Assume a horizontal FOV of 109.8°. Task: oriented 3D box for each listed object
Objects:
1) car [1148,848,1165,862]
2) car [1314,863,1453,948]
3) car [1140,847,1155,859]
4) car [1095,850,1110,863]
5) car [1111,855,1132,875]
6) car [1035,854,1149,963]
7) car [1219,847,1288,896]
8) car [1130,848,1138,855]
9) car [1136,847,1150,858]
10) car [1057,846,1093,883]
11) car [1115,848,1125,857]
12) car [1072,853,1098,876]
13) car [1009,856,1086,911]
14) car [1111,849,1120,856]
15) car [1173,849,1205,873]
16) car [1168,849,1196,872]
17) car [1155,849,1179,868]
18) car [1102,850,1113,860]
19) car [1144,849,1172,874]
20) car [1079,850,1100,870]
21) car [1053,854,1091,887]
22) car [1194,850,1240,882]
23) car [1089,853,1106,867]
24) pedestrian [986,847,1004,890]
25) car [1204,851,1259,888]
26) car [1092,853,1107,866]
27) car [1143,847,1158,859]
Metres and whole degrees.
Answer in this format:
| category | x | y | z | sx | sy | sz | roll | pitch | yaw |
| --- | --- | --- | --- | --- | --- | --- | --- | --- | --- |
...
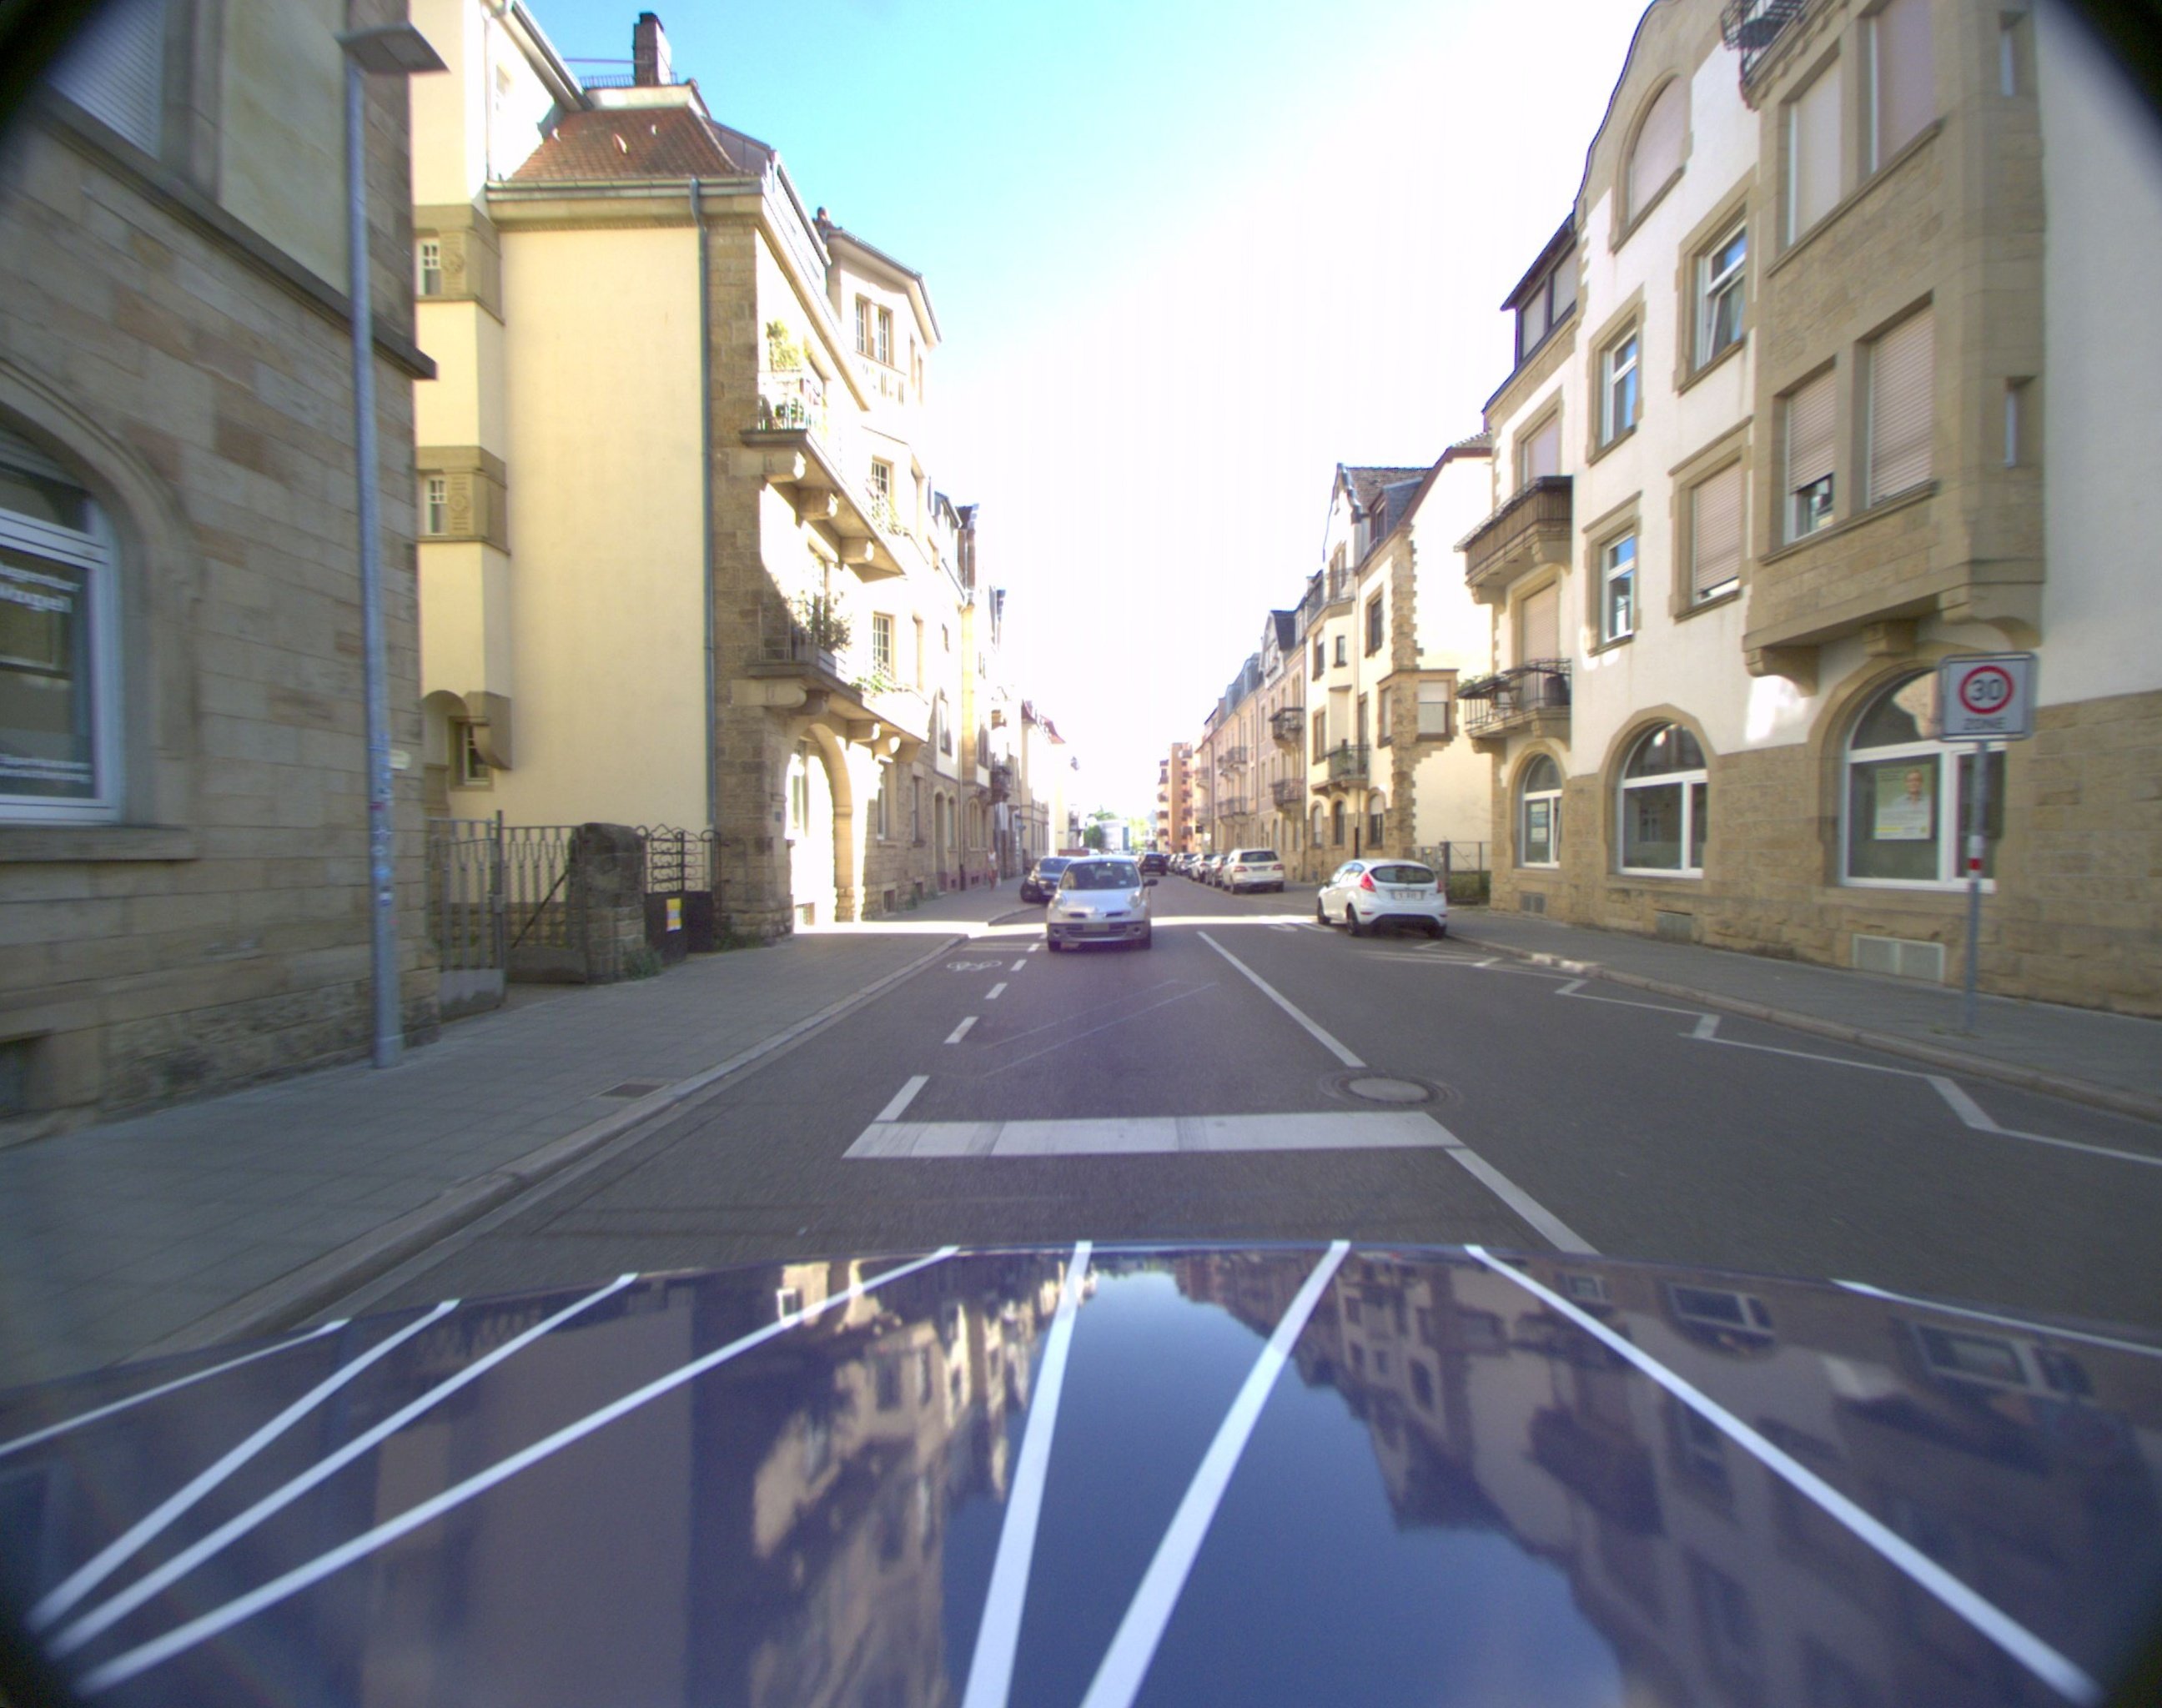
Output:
| category | x | y | z | sx | sy | sz | roll | pitch | yaw |
| --- | --- | --- | --- | --- | --- | --- | --- | --- | --- |
| car | 10.016 | 0.149 | 100.806 | 1.917 | 1.614 | 4.346 | -4 | 1 | 2 |
| car | 5.842 | 0.922 | 15.084 | 1.556 | 1.403 | 3.572 | 1 | 0 | 5 |
| car | 10.210 | -0.215 | 117.128 | 1.917 | 1.614 | 4.346 | -4 | 1 | 2 |
| car | 3.138 | 0.312 | 109.493 | 1.877 | 1.657 | 4.000 | -2 | 1 | 4 |
| car | 3.838 | 1.005 | 72.187 | 1.877 | 1.657 | 4.000 | -2 | 1 | 4 |
| car | 0.324 | 0.820 | 13.074 | 1.651 | 1.559 | 3.617 | -1 | 1 | 5 |
| car | 6.712 | 0.623 | 30.077 | 1.917 | 1.649 | 4.347 | -4 | 1 | 4 |
| car | 14.617 | -0.707 | 210.043 | 1.917 | 1.614 | 4.346 | -4 | 1 | 2 |
| car | 10.385 | -0.311 | 127.145 | 1.917 | 1.614 | 4.346 | -4 | 1 | 2 |
| car | -0.298 | 0.579 | 44.814 | 1.833 | 2.023 | 3.820 | -3 | 0 | 3 |
| car | 7.614 | -0.370 | 147.289 | 1.877 | 1.657 | 4.000 | -2 | 1 | 4 |
| car | 0.323 | 0.758 | 57.492 | 1.833 | 1.586 | 3.820 | -3 | 0 | 1 |
| car | -0.981 | 0.895 | 24.732 | 1.998 | 1.528 | 4.001 | -3 | 0 | 4 |
| car | 8.508 | -0.426 | 187.425 | 1.877 | 1.657 | 4.000 | -2 | 1 | 4 |
| car | 7.840 | 0.471 | 55.572 | 1.917 | 1.509 | 4.347 | -4 | 1 | 4 |
| car | 8.217 | 0.484 | 61.992 | 1.917 | 1.614 | 4.347 | -4 | 1 | 4 |
| car | 8.187 | 0.396 | 72.341 | 1.917 | 1.614 | 4.346 | -4 | 1 | 3 |
| car | 4.671 | 0.225 | 133.022 | 1.877 | 1.657 | 4.000 | -2 | 1 | 4 |
| car | 5.563 | 0.532 | 55.191 | 1.916 | 1.718 | 4.348 | 0 | 0 | 5 |
| car | 0.801 | 0.544 | 69.590 | 1.833 | 1.648 | 3.820 | -3 | 0 | 1 |
| car | -0.415 | 0.844 | 40.343 | 1.833 | 1.586 | 3.820 | -3 | 0 | 1 |
| car | 7.432 | 0.611 | 41.787 | 1.917 | 1.509 | 4.347 | -4 | 1 | 4 |
| car | 2.140 | 0.802 | 98.253 | 1.877 | 1.657 | 4.000 | -2 | 1 | 4 |
| pedestrian | -3.419 | 0.566 | 30.087 | 0.578 | 1.712 | 0.698 | 1 | 1 | 3 |
| car | 7.055 | 0.680 | 35.941 | 1.917 | 1.509 | 4.347 | -4 | 1 | 4 |
| car | 2.563 | 0.738 | 103.246 | 1.877 | 1.657 | 4.000 | -2 | 1 | 4 |
| car | 10.155 | -0.162 | 111.379 | 1.917 | 1.614 | 4.346 | -4 | 1 | 2 |
